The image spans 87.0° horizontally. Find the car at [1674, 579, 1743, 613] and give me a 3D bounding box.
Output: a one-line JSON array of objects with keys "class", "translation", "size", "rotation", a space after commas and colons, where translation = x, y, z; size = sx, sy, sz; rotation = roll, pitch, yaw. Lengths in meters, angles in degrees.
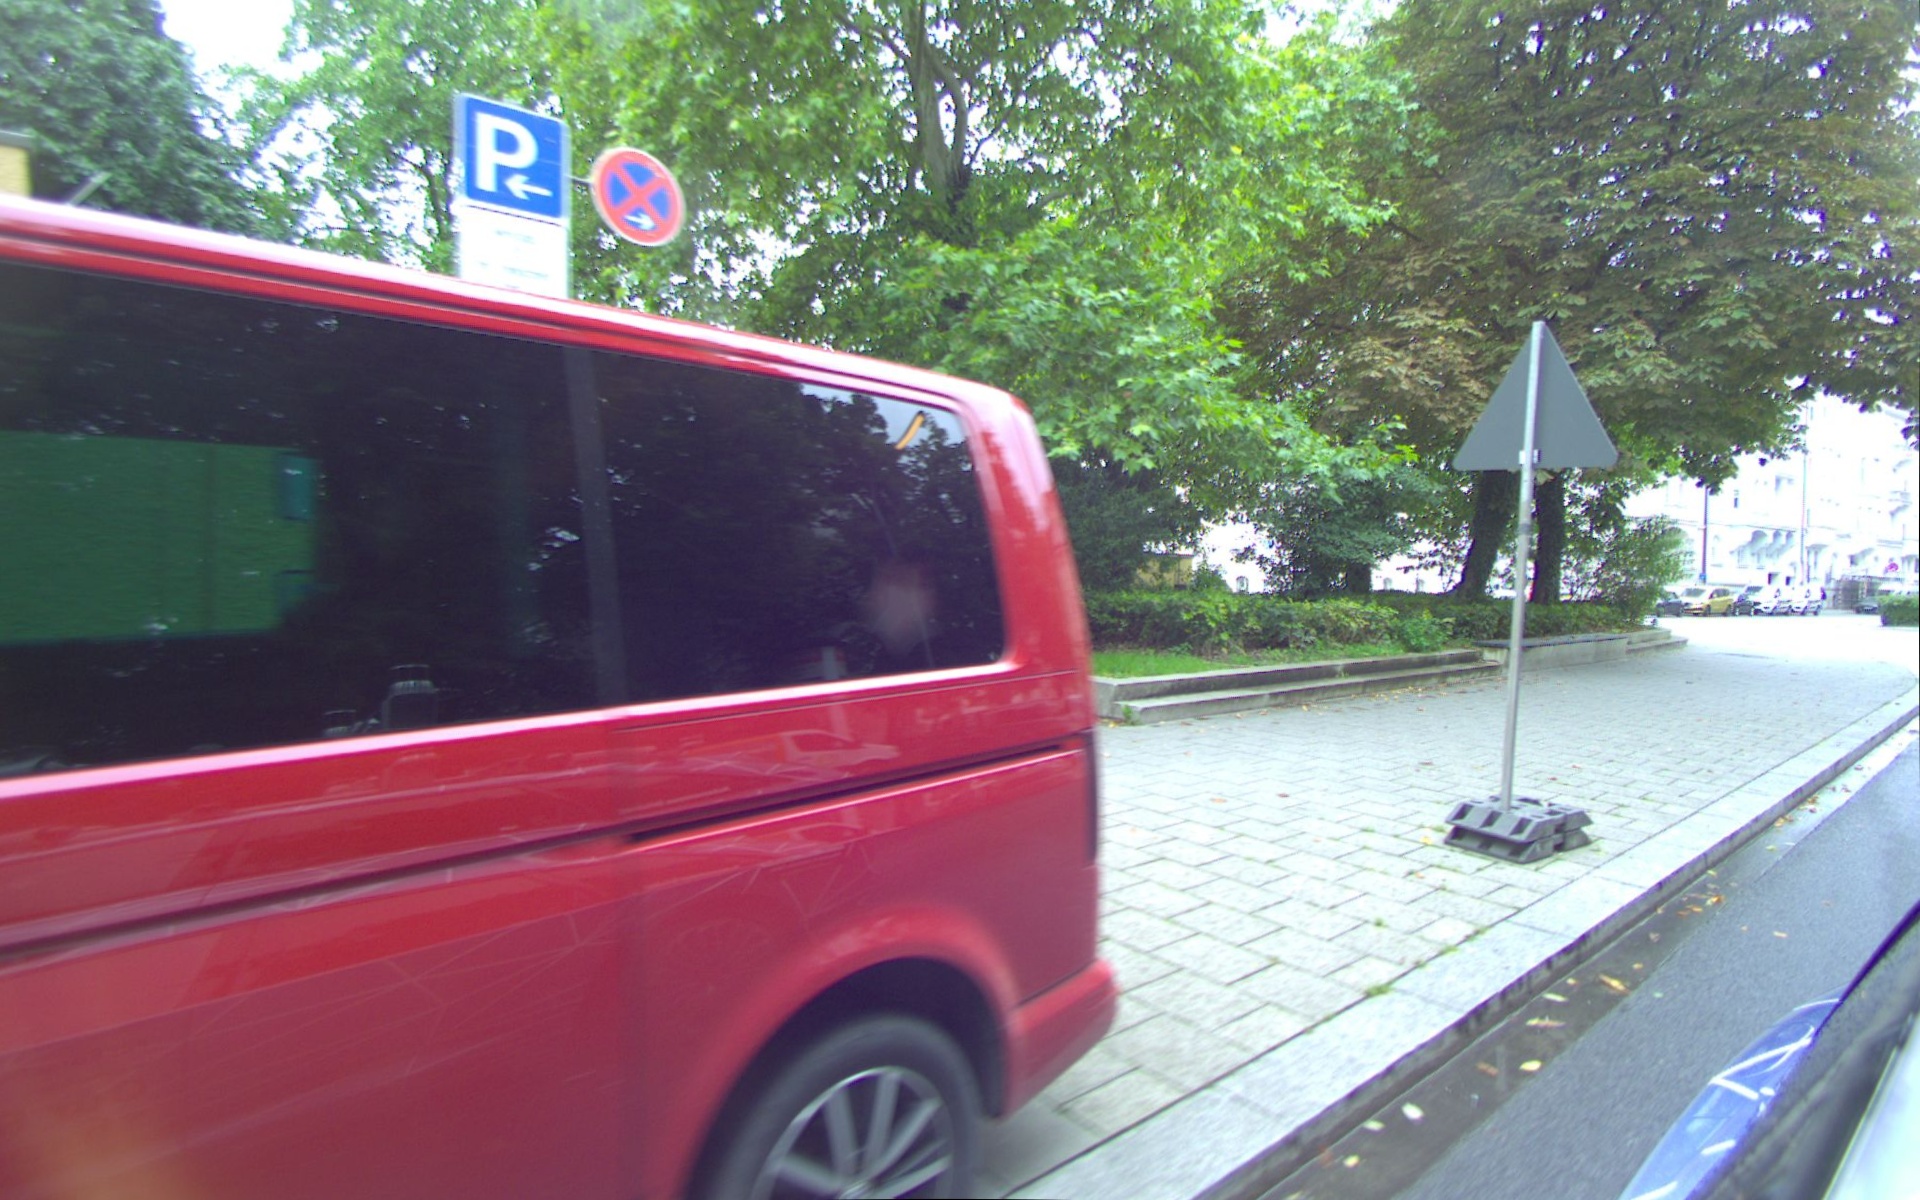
[{"class": "car", "translation": [43.447, -0.280, 58.715], "size": [4.220, 1.841, 1.798], "rotation": [-1, 3, -32]}]

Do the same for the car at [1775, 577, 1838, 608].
[{"class": "car", "translation": [57.357, -0.541, 68.530], "size": [4.488, 1.962, 2.056], "rotation": [-1, 3, -34]}]

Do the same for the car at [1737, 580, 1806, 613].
[{"class": "car", "translation": [52.149, -0.254, 65.013], "size": [4.681, 1.936, 2.160], "rotation": [-1, 3, -34]}]

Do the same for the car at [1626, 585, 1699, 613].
[{"class": "car", "translation": [38.887, -0.078, 56.024], "size": [3.745, 1.437, 1.953], "rotation": [-1, 3, -32]}]

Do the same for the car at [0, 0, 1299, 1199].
[{"class": "car", "translation": [-1.667, 0.374, 1.624], "size": [5.354, 1.991, 1.861], "rotation": [-2, 3, -43]}]

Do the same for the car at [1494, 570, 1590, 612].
[{"class": "car", "translation": [28.452, -0.443, 49.464], "size": [4.876, 1.958, 1.953], "rotation": [0, 2, -32]}]

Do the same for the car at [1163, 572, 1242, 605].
[{"class": "car", "translation": [12.660, -0.639, 53.012], "size": [1.704, 1.602, 4.004], "rotation": [-1, 2, -32]}]
